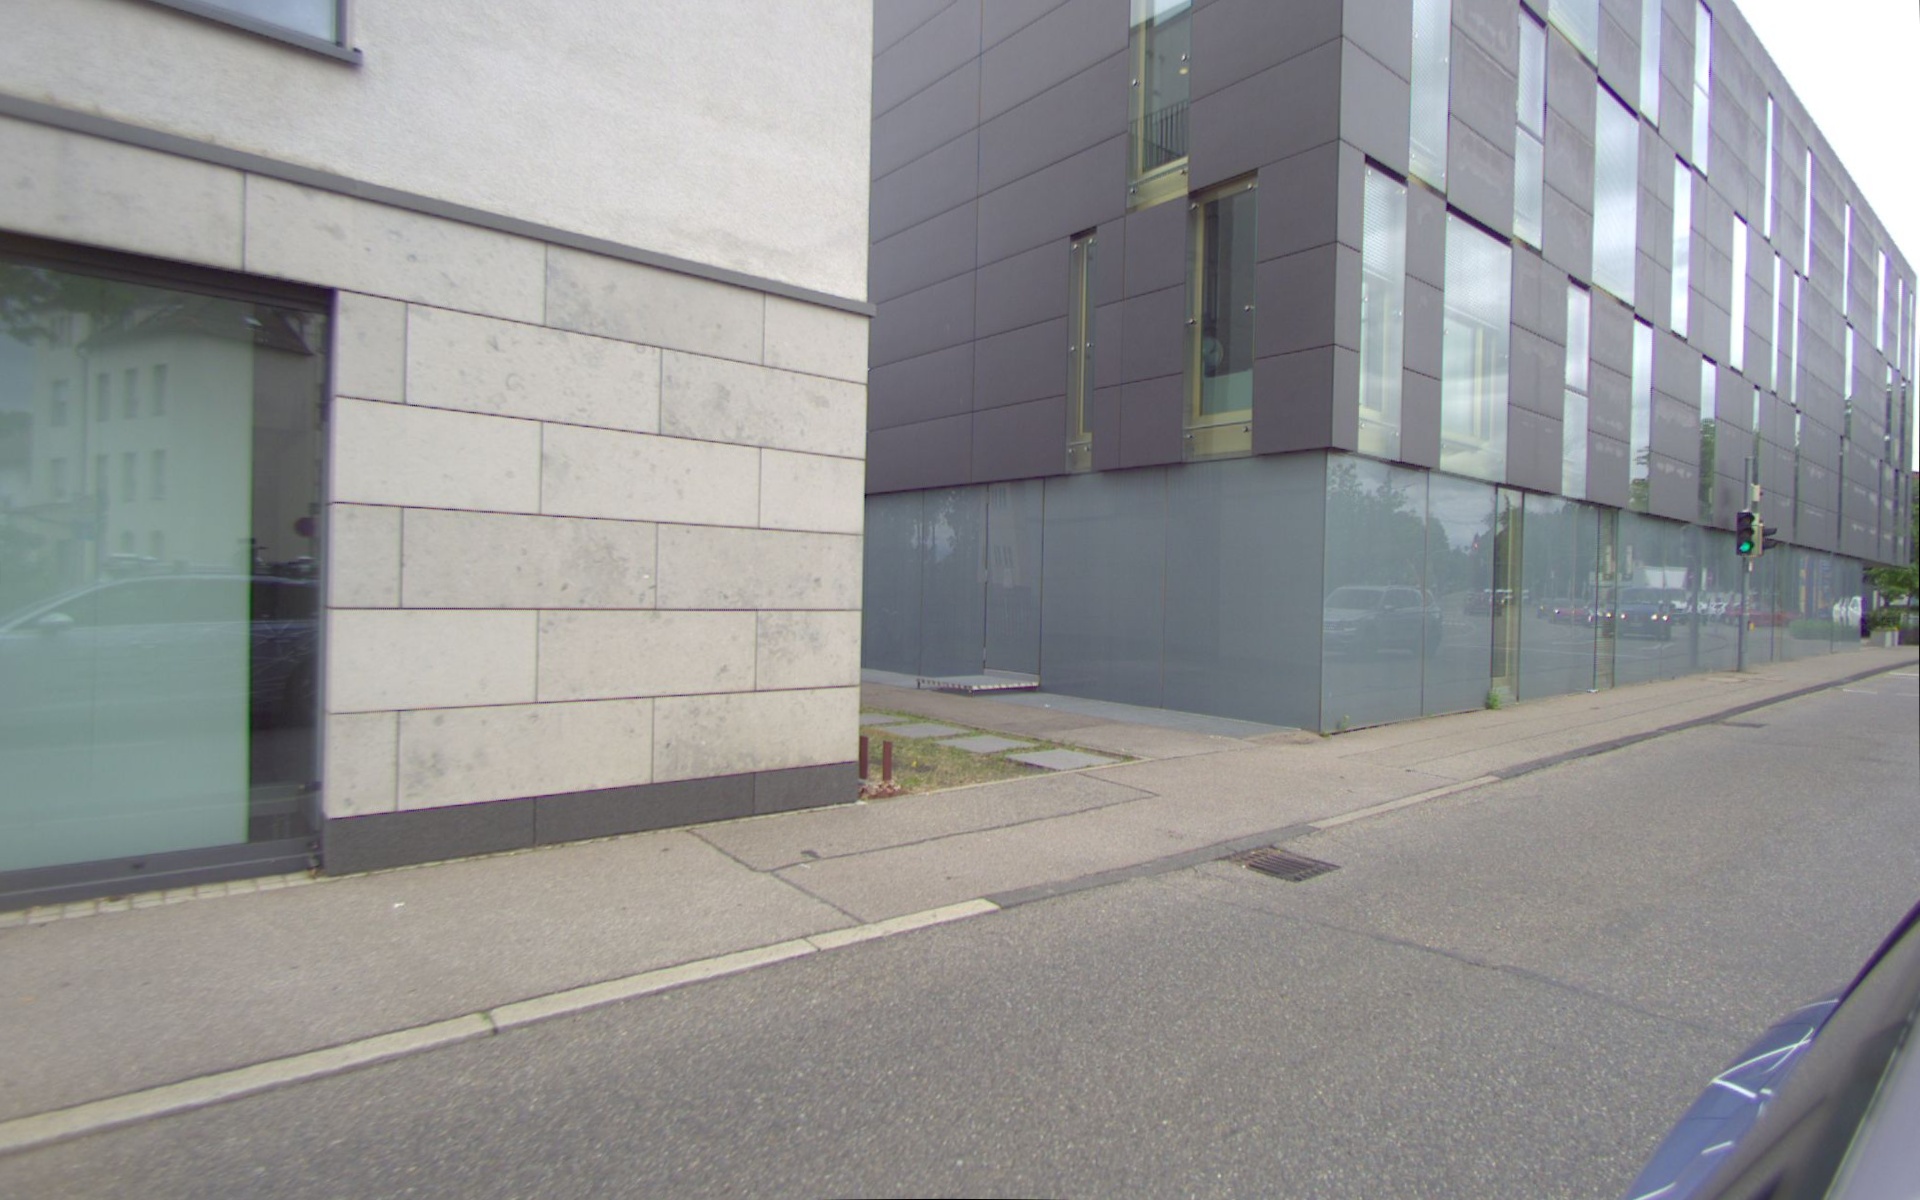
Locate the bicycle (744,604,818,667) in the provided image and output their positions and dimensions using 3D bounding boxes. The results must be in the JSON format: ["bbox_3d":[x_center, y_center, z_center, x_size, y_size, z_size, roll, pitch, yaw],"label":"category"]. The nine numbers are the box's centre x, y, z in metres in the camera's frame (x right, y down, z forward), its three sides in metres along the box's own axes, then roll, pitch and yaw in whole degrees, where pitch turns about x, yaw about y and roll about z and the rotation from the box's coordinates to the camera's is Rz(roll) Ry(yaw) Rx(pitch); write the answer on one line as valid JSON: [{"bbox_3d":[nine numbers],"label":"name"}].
[{"bbox_3d":[-3.108,0.582,17.455,0.365,0.987,1.964,0,1,-39],"label":"bicycle"}]
